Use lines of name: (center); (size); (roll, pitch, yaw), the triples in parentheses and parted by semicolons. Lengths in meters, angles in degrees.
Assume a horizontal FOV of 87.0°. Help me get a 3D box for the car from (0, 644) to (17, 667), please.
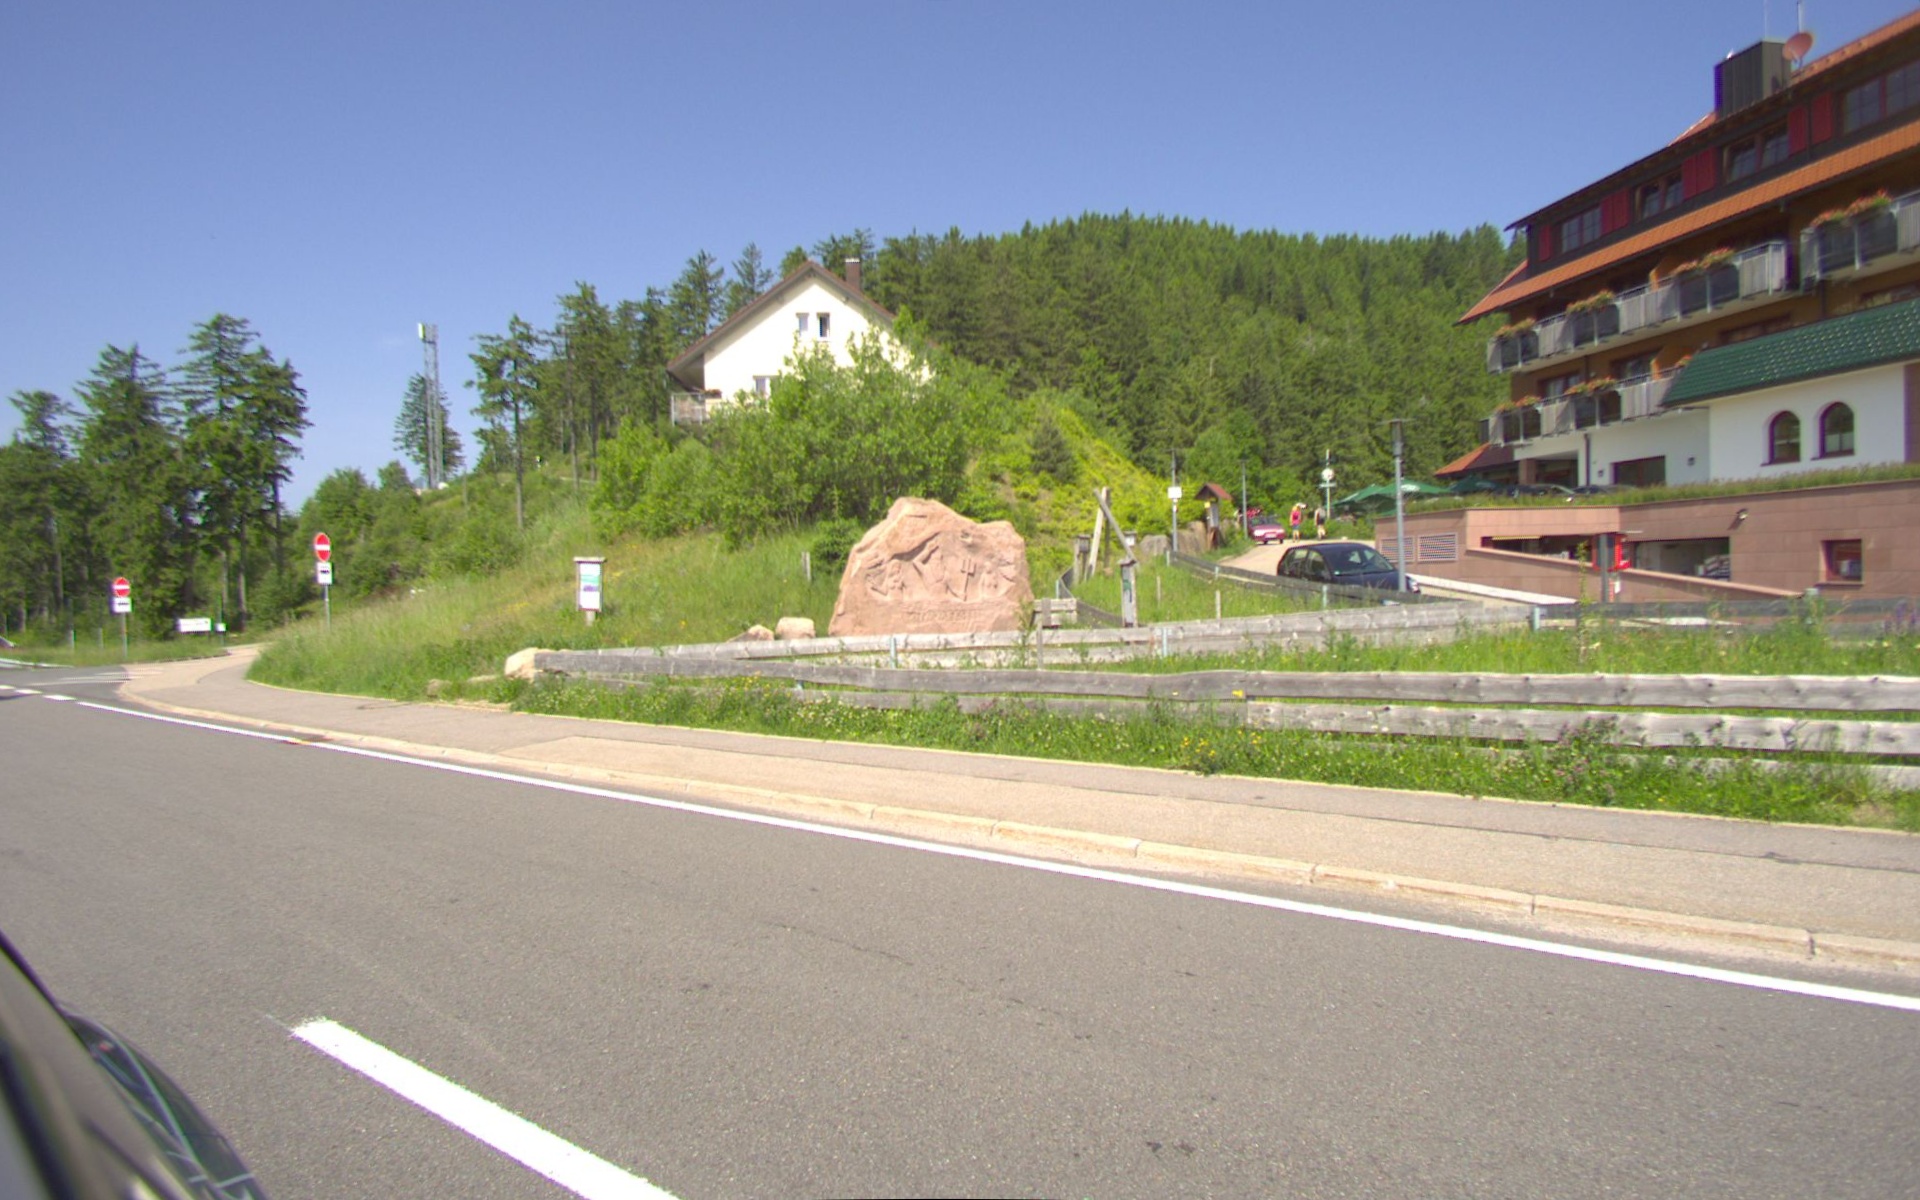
car: (-59.341, 3.344, 60.642); (1.929, 1.384, 3.881); (-2, -2, 38)

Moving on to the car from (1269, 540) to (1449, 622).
car: (8.190, -0.475, 21.205); (1.851, 1.363, 4.007); (-1, 6, -5)

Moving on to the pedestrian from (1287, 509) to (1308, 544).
pedestrian: (15.602, -3.403, 46.789); (0.565, 1.552, 0.633); (-8, 6, -6)

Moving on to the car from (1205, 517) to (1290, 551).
car: (13.299, -3.033, 46.972); (1.522, 1.326, 3.864); (-2, 1, -28)

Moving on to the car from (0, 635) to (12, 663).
car: (-67.617, 3.335, 68.557); (1.929, 1.896, 4.672); (-2, -2, 38)

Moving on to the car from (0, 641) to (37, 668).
car: (-57.008, 3.230, 59.332); (1.932, 1.522, 4.105); (-2, -2, 42)

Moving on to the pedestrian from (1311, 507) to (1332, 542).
pedestrian: (16.624, -3.479, 46.581); (0.565, 1.552, 0.633); (-8, 6, -6)
